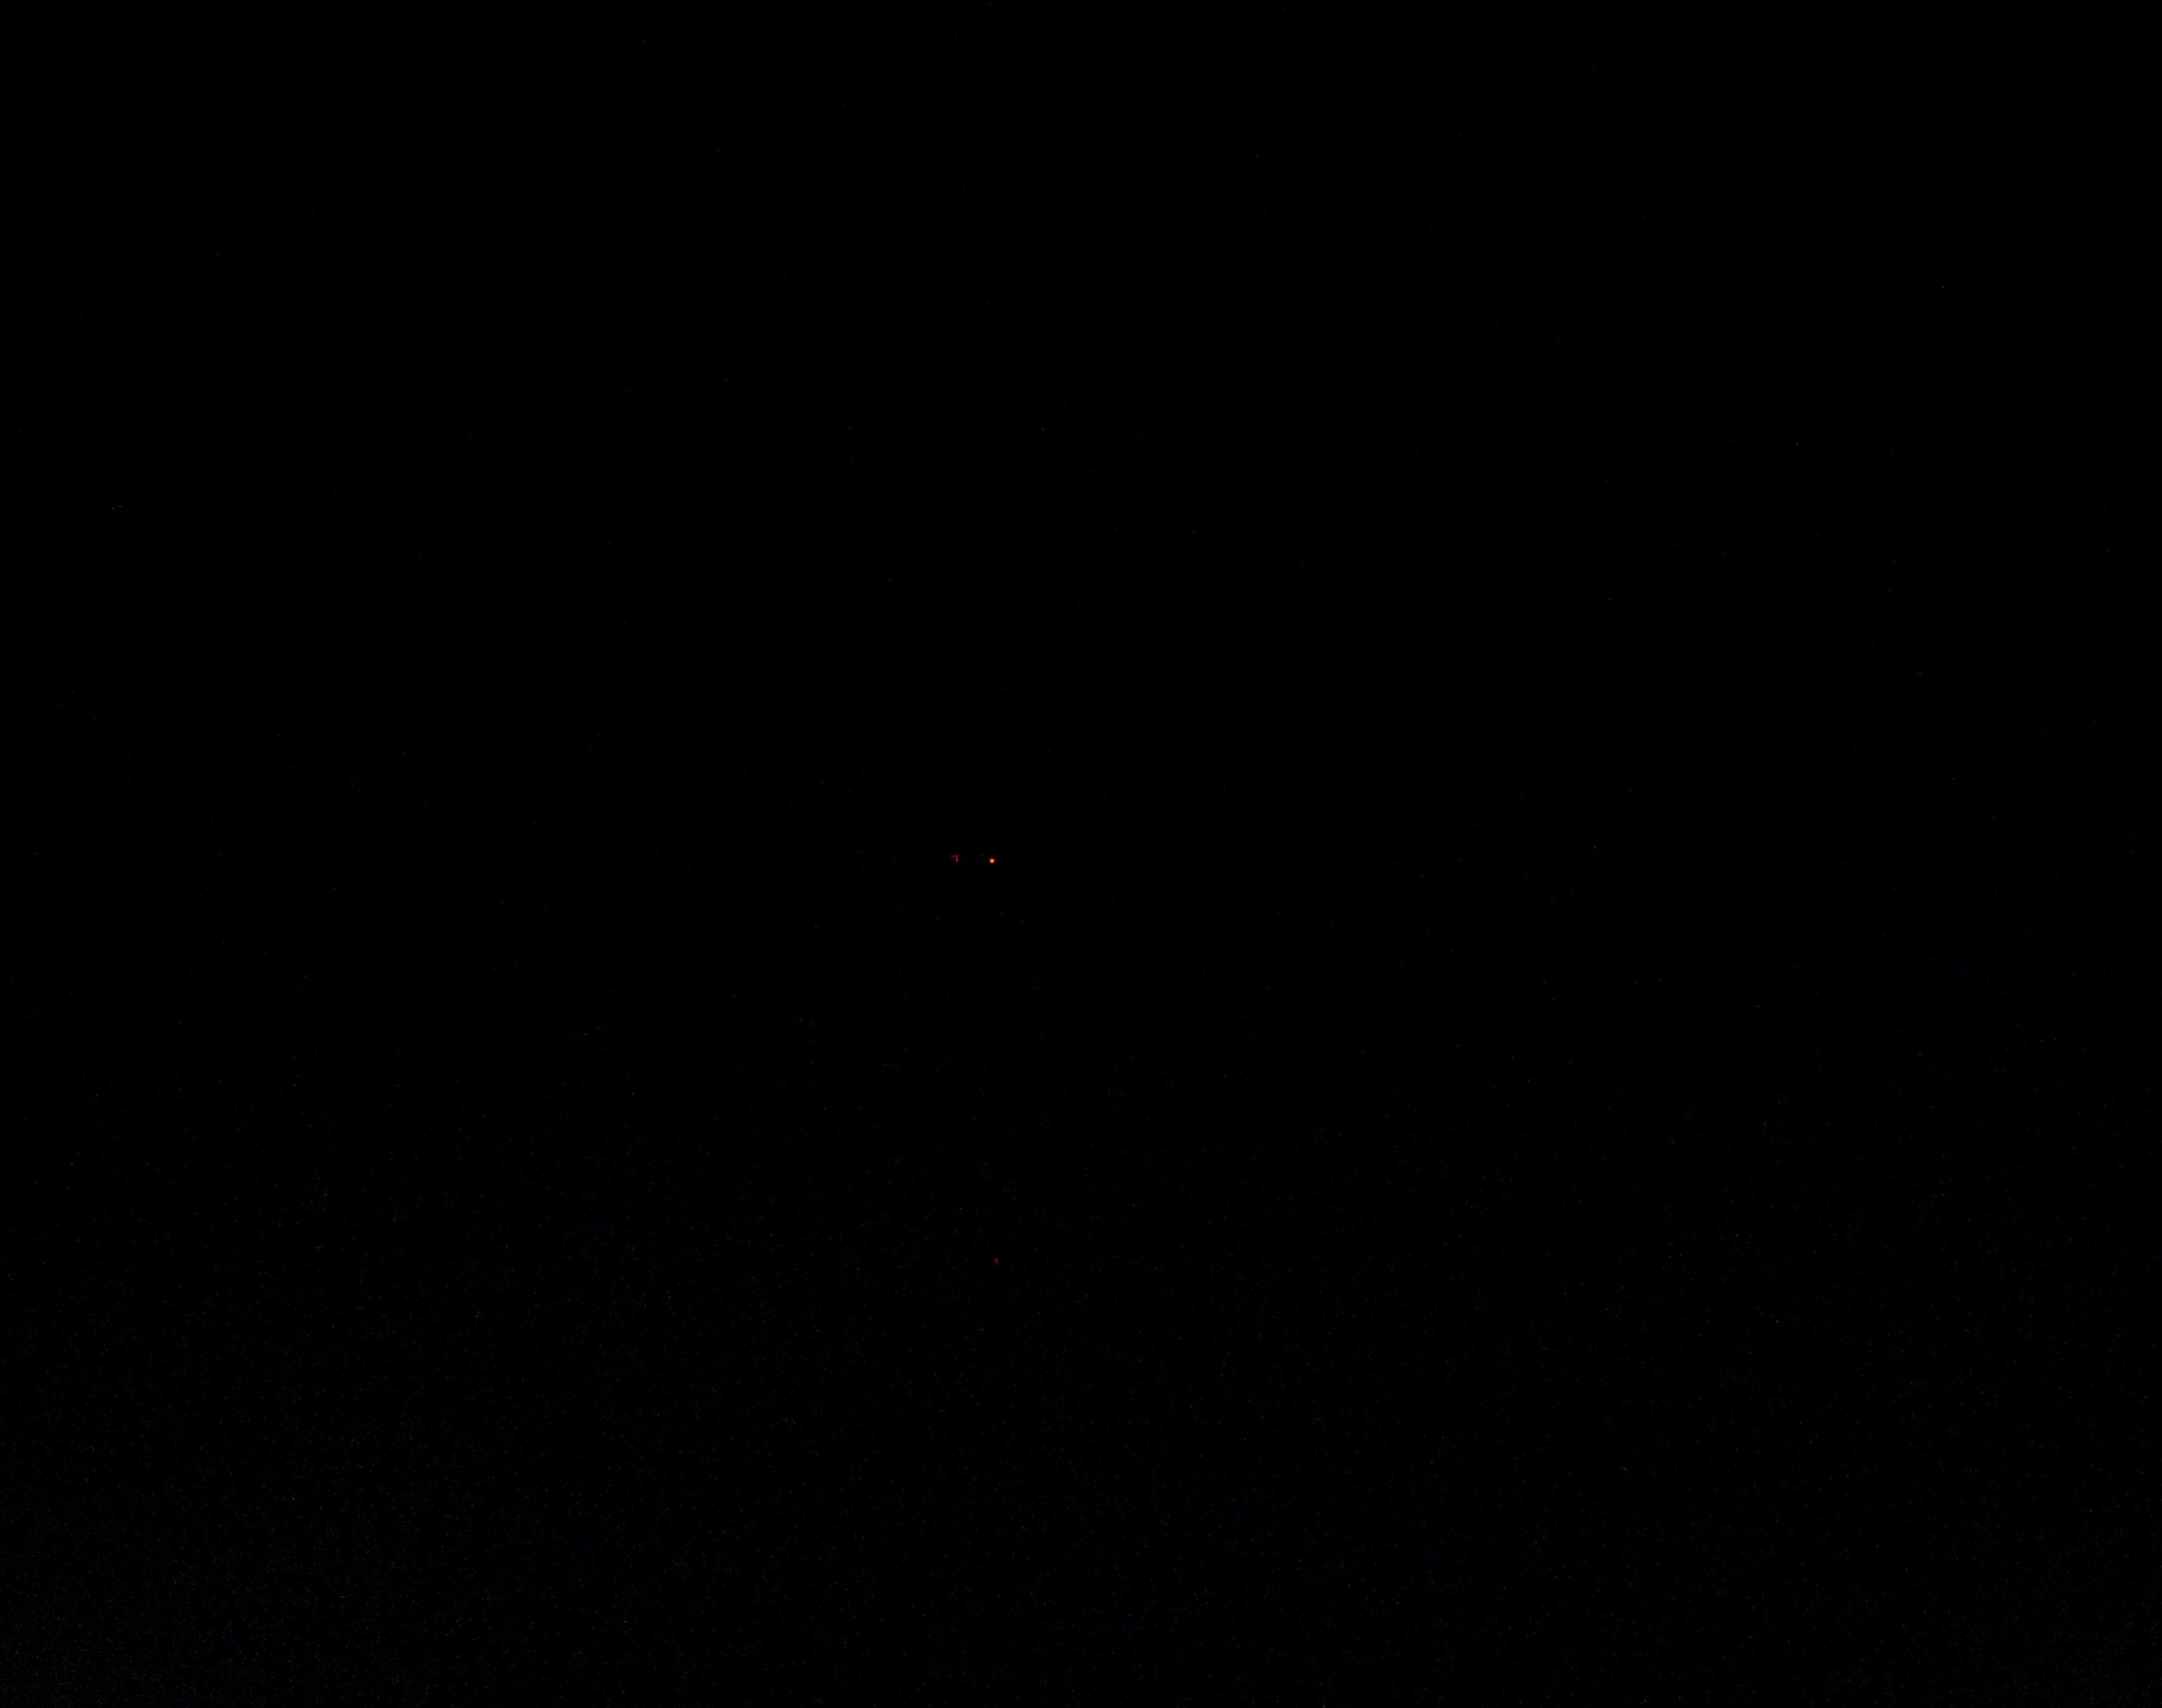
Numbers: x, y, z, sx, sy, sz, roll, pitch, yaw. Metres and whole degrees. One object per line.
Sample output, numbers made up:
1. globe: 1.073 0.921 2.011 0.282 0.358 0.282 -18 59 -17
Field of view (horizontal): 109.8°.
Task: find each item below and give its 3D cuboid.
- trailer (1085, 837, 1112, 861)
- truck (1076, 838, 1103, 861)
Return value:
1. trailer: 2.889 -0.856 128.419 2.727 3.933 9.038 -1 0 -11
2. truck: 1.451 -0.791 136.263 2.690 4.020 10.643 -1 0 -11
